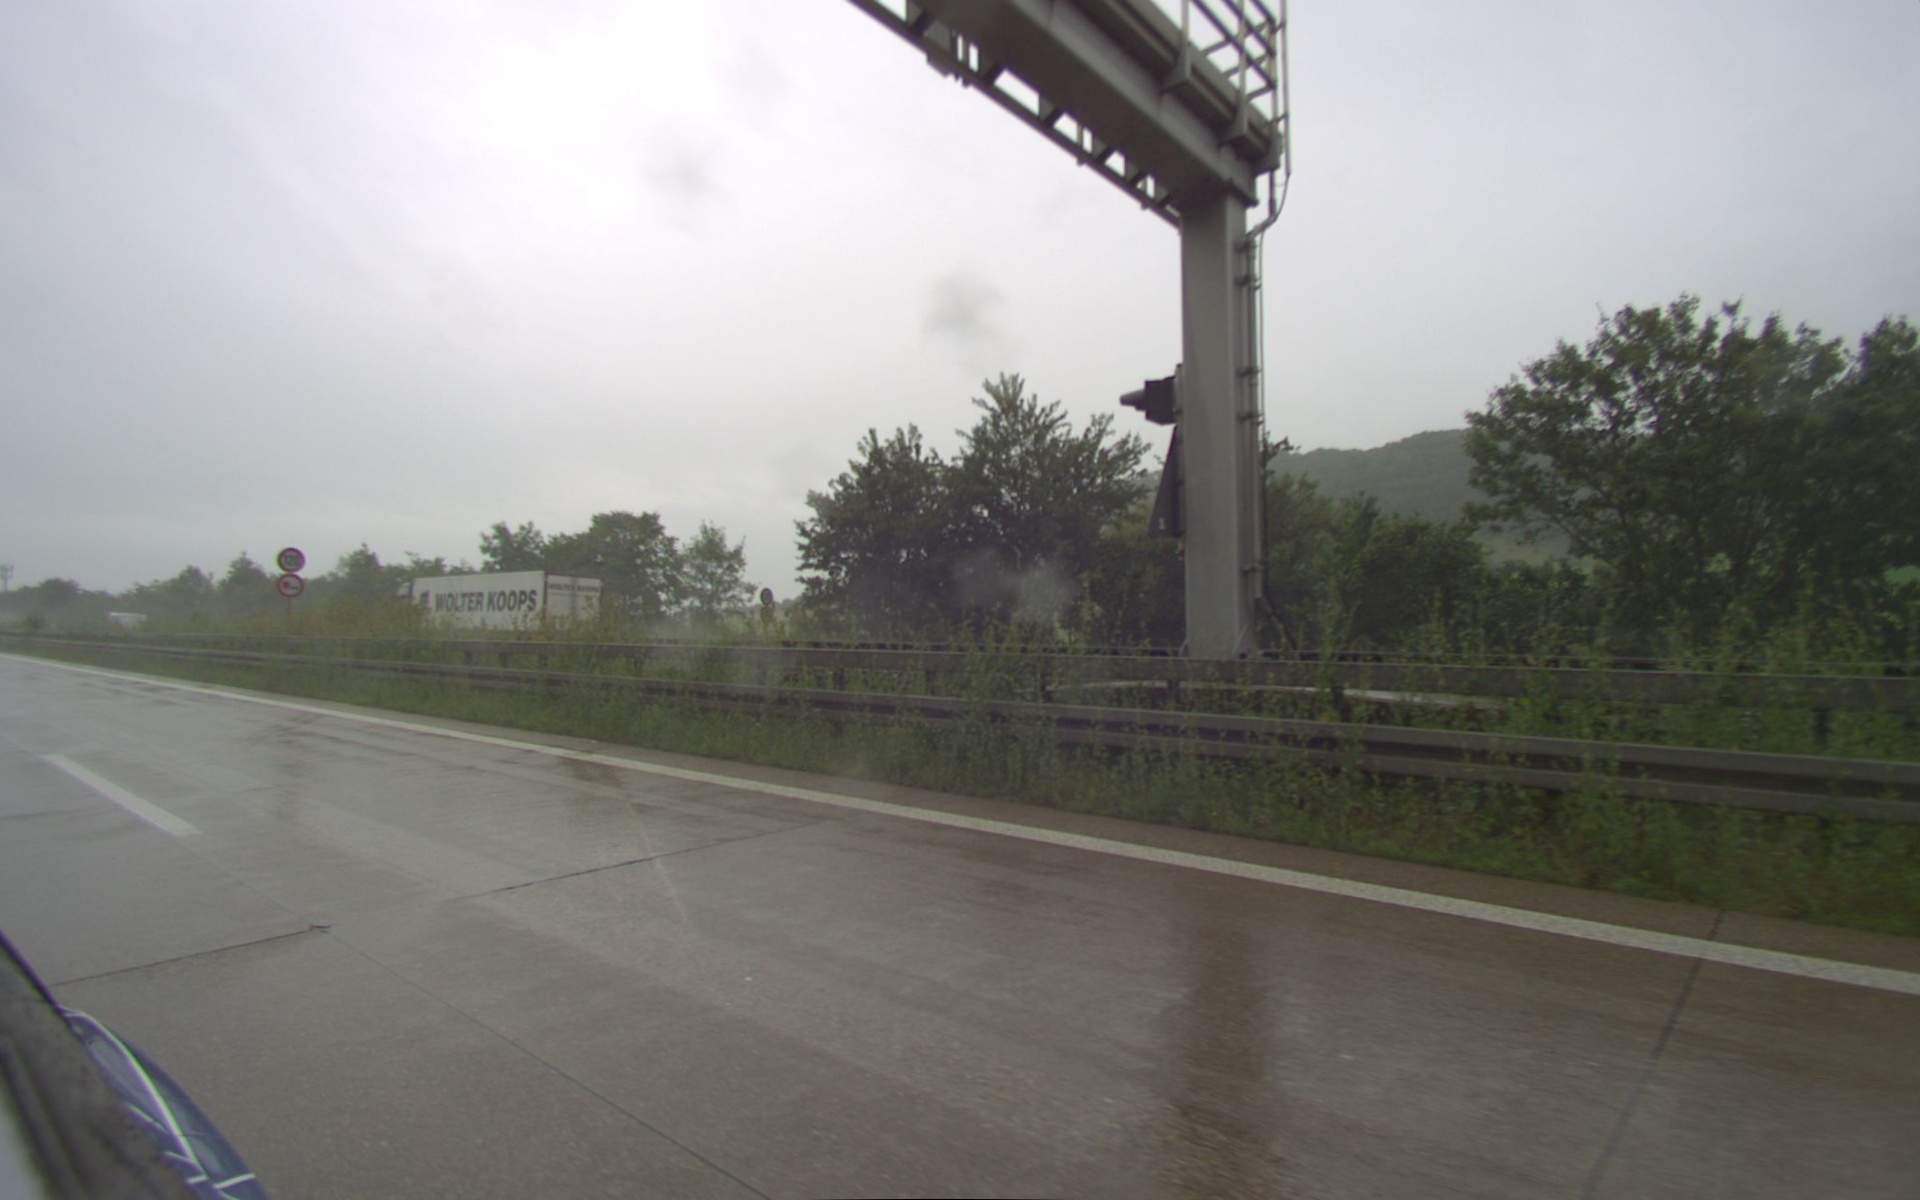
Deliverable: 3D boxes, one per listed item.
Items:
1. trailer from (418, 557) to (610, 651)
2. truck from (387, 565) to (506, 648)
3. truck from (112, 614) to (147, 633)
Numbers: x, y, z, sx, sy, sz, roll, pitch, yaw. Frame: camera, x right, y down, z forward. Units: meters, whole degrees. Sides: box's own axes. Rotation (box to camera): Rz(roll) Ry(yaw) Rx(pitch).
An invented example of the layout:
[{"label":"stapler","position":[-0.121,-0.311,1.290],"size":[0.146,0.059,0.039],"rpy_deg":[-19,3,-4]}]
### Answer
[{"label":"trailer","position":[-20.285,0.272,45.392],"size":[12.279,3.702,2.934],"rpy_deg":[-1,-1,41]},{"label":"truck","position":[-25.340,0.372,49.804],"size":[6.949,3.791,2.890],"rpy_deg":[-1,-1,42]},{"label":"truck","position":[-85.210,2.444,103.828],"size":[4.738,1.911,1.991],"rpy_deg":[-1,-1,41]}]
